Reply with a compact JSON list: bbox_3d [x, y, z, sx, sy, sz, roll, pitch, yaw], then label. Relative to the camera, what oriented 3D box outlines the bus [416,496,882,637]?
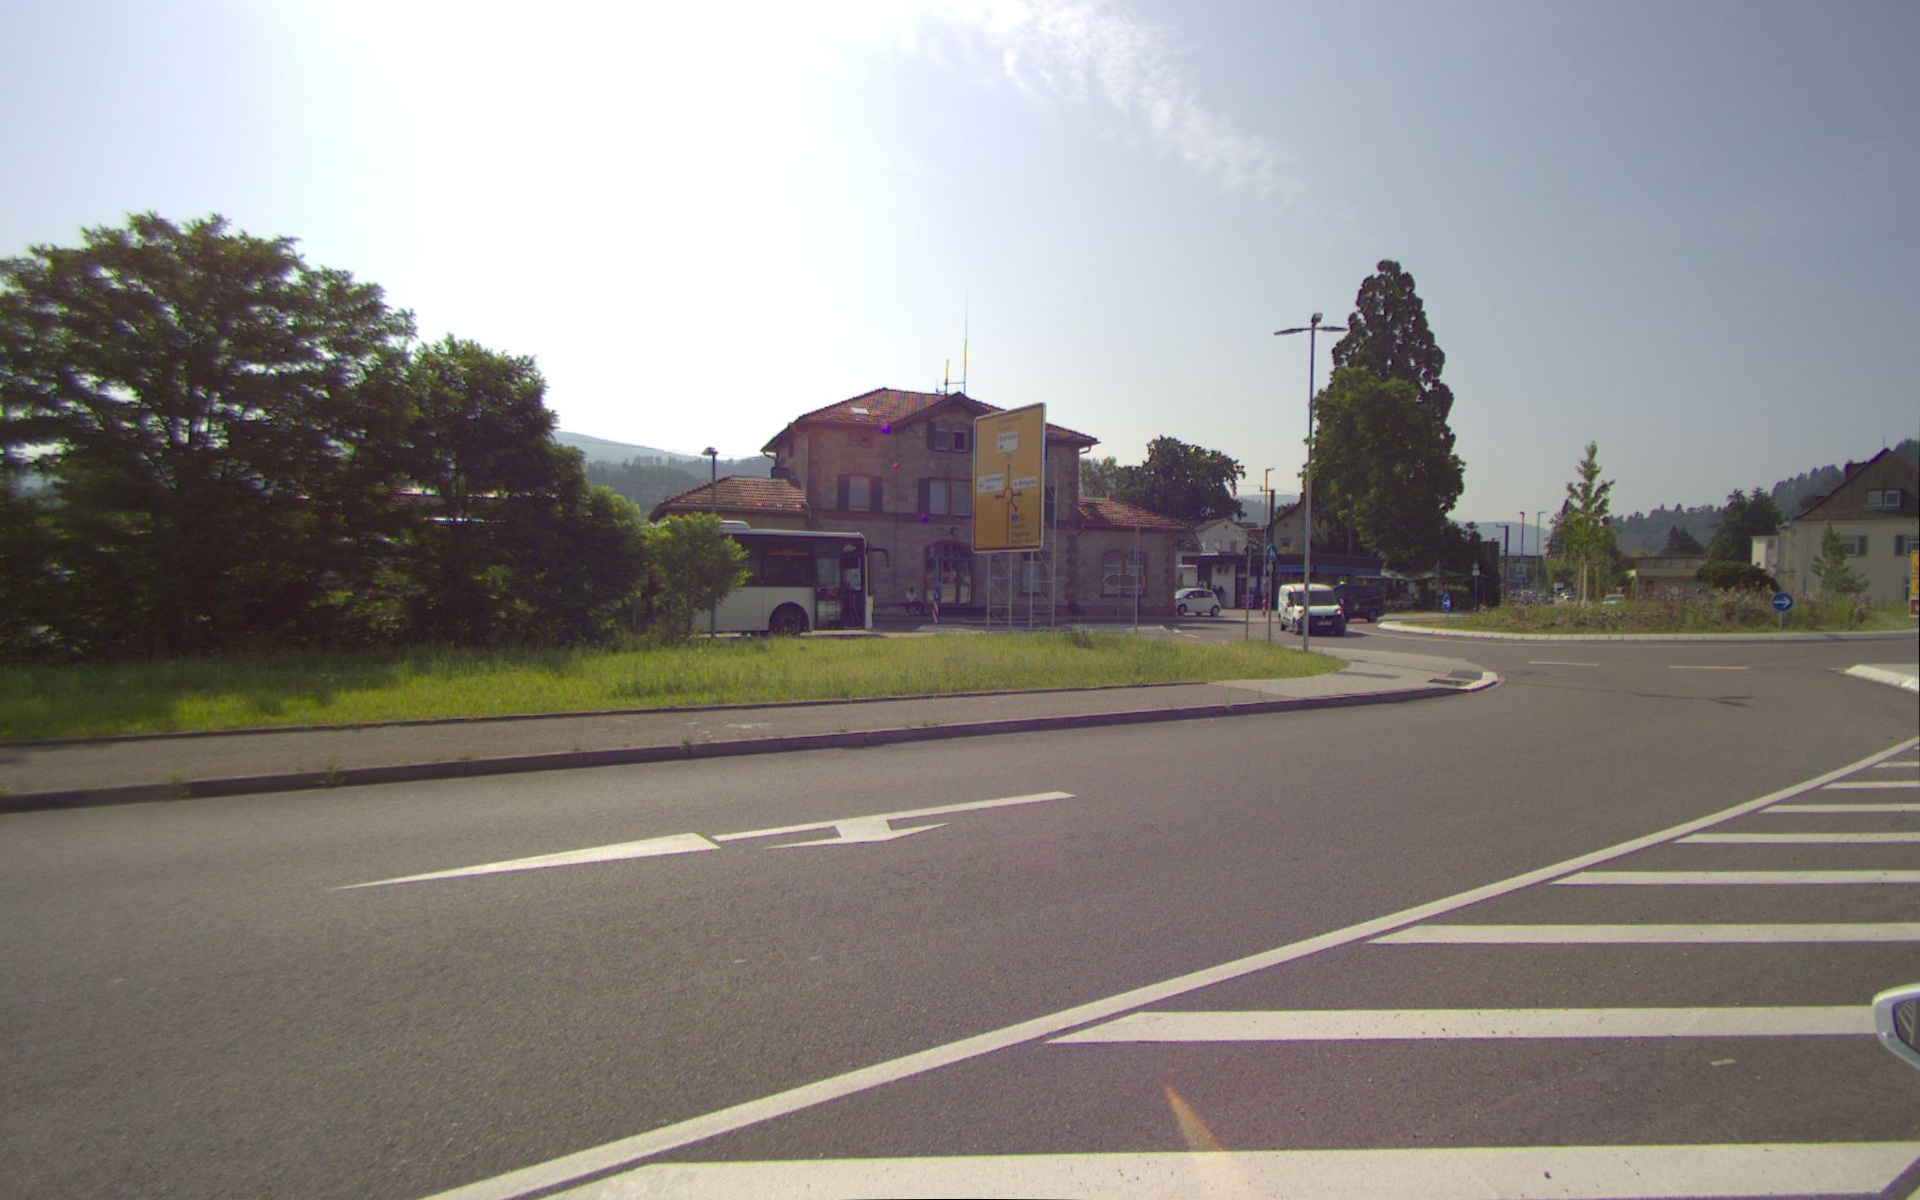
[{"bbox_3d":[-7.935,-0.762,26.931,11.588,3.165,3.048,0,1,-32],"label":"bus"}]

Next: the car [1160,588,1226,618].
[{"bbox_3d":[13.044,0.158,56.172,3.490,1.469,1.384,3,0,-26],"label":"car"}]

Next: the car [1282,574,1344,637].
[{"bbox_3d":[13.378,0.138,38.291,1.775,2.106,4.605,0,3,14],"label":"car"}]

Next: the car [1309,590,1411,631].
[{"bbox_3d":[19.943,0.544,50.093,4.812,1.972,1.836,1,0,-23],"label":"car"}]

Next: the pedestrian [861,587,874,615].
[{"bbox_3d":[-4.141,0.058,44.965,0.437,1.220,0.581,1,0,-24],"label":"pedestrian"}]

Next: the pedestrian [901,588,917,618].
[{"bbox_3d":[-2.316,0.138,45.783,0.544,1.367,0.564,1,0,-21],"label":"pedestrian"}]

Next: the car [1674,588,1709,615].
[{"bbox_3d":[57.007,0.057,78.226,1.789,2.041,3.978,1,1,42],"label":"car"}]
